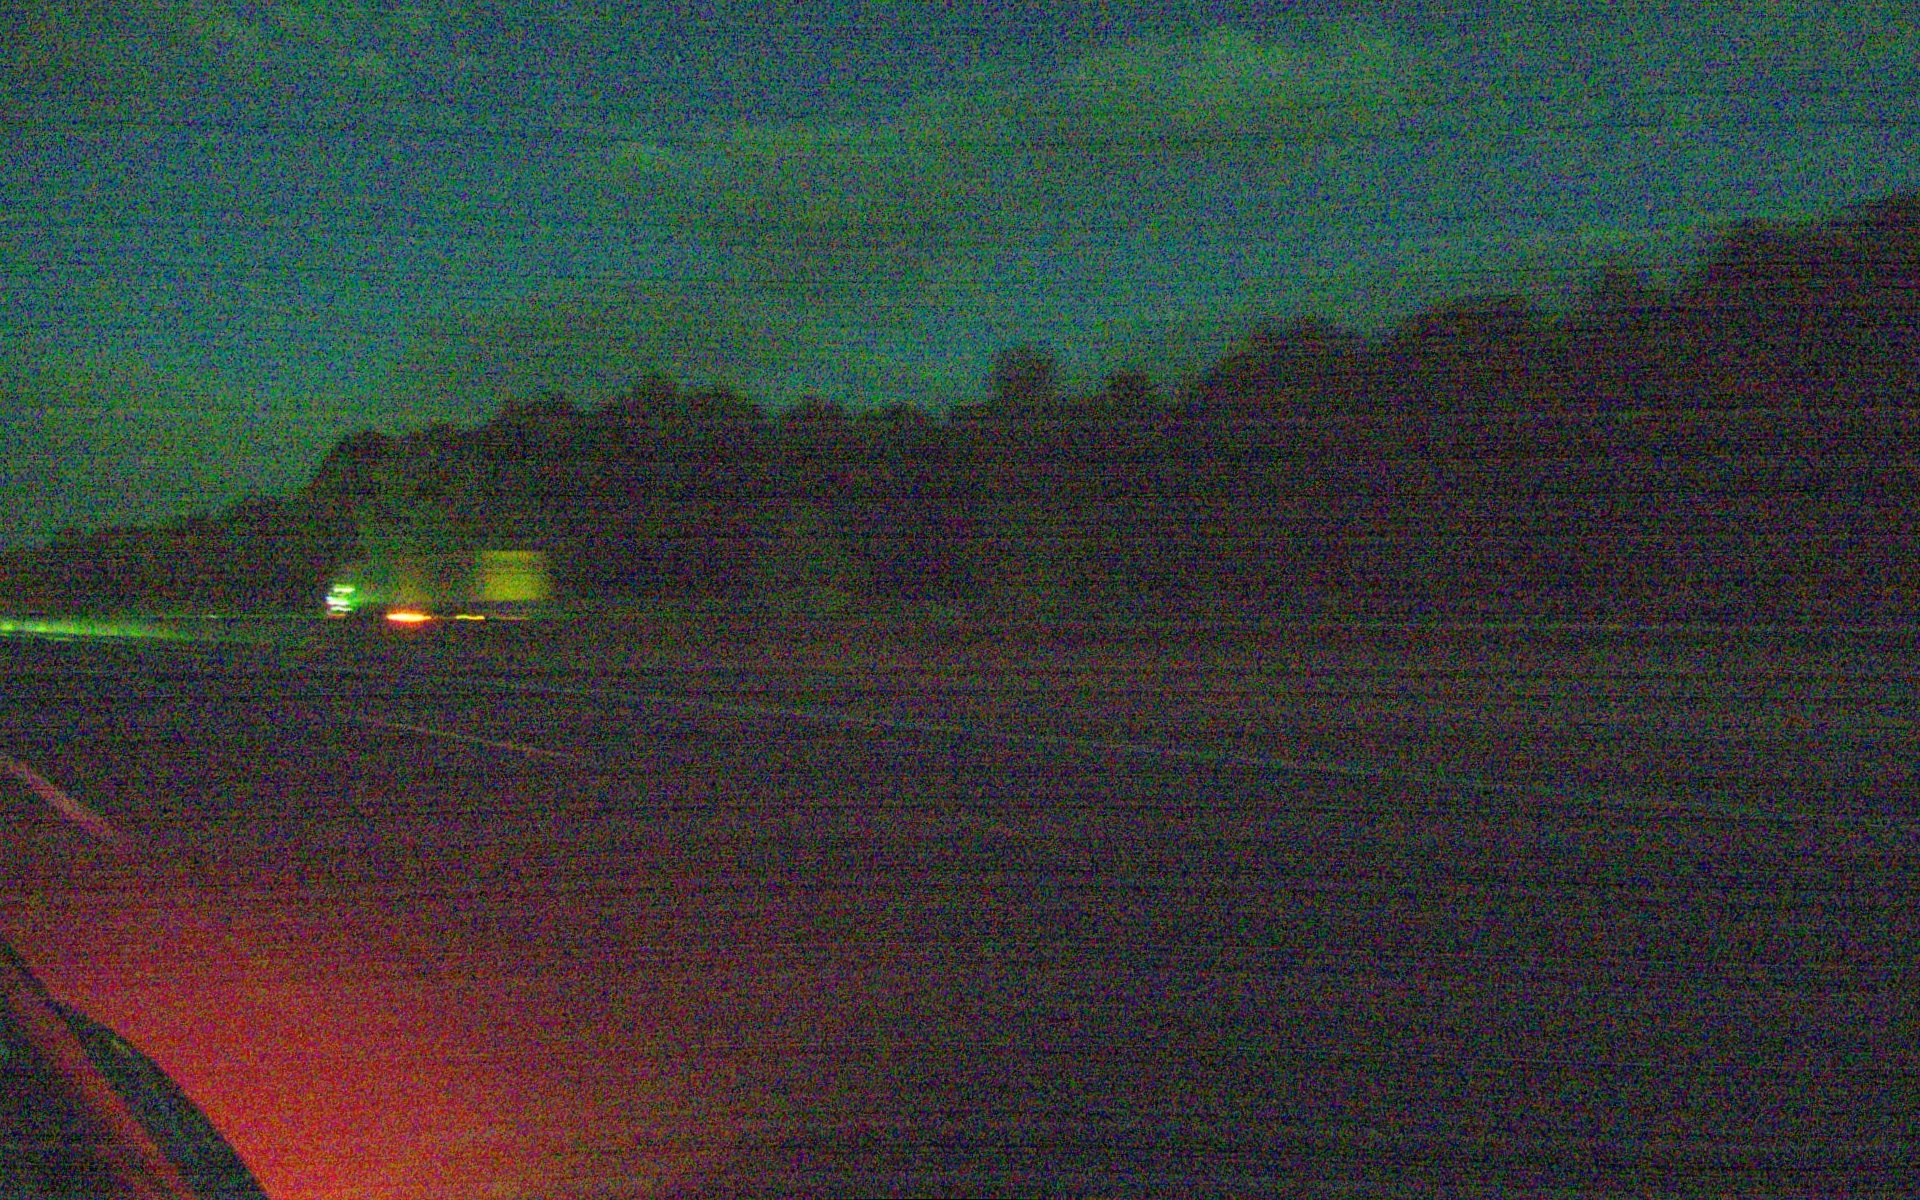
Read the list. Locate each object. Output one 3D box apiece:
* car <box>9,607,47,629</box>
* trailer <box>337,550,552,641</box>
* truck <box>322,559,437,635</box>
[{"bbox_3d":[-74.808,1.413,81.239,3.738,1.658,1.728,0,0,39],"label":"car"},{"bbox_3d":[-26.915,-0.182,51.948,17.272,4.030,3.506,0,0,41],"label":"trailer"},{"bbox_3d":[-32.626,-0.141,56.815,6.693,4.000,3.468,0,0,39],"label":"truck"}]
